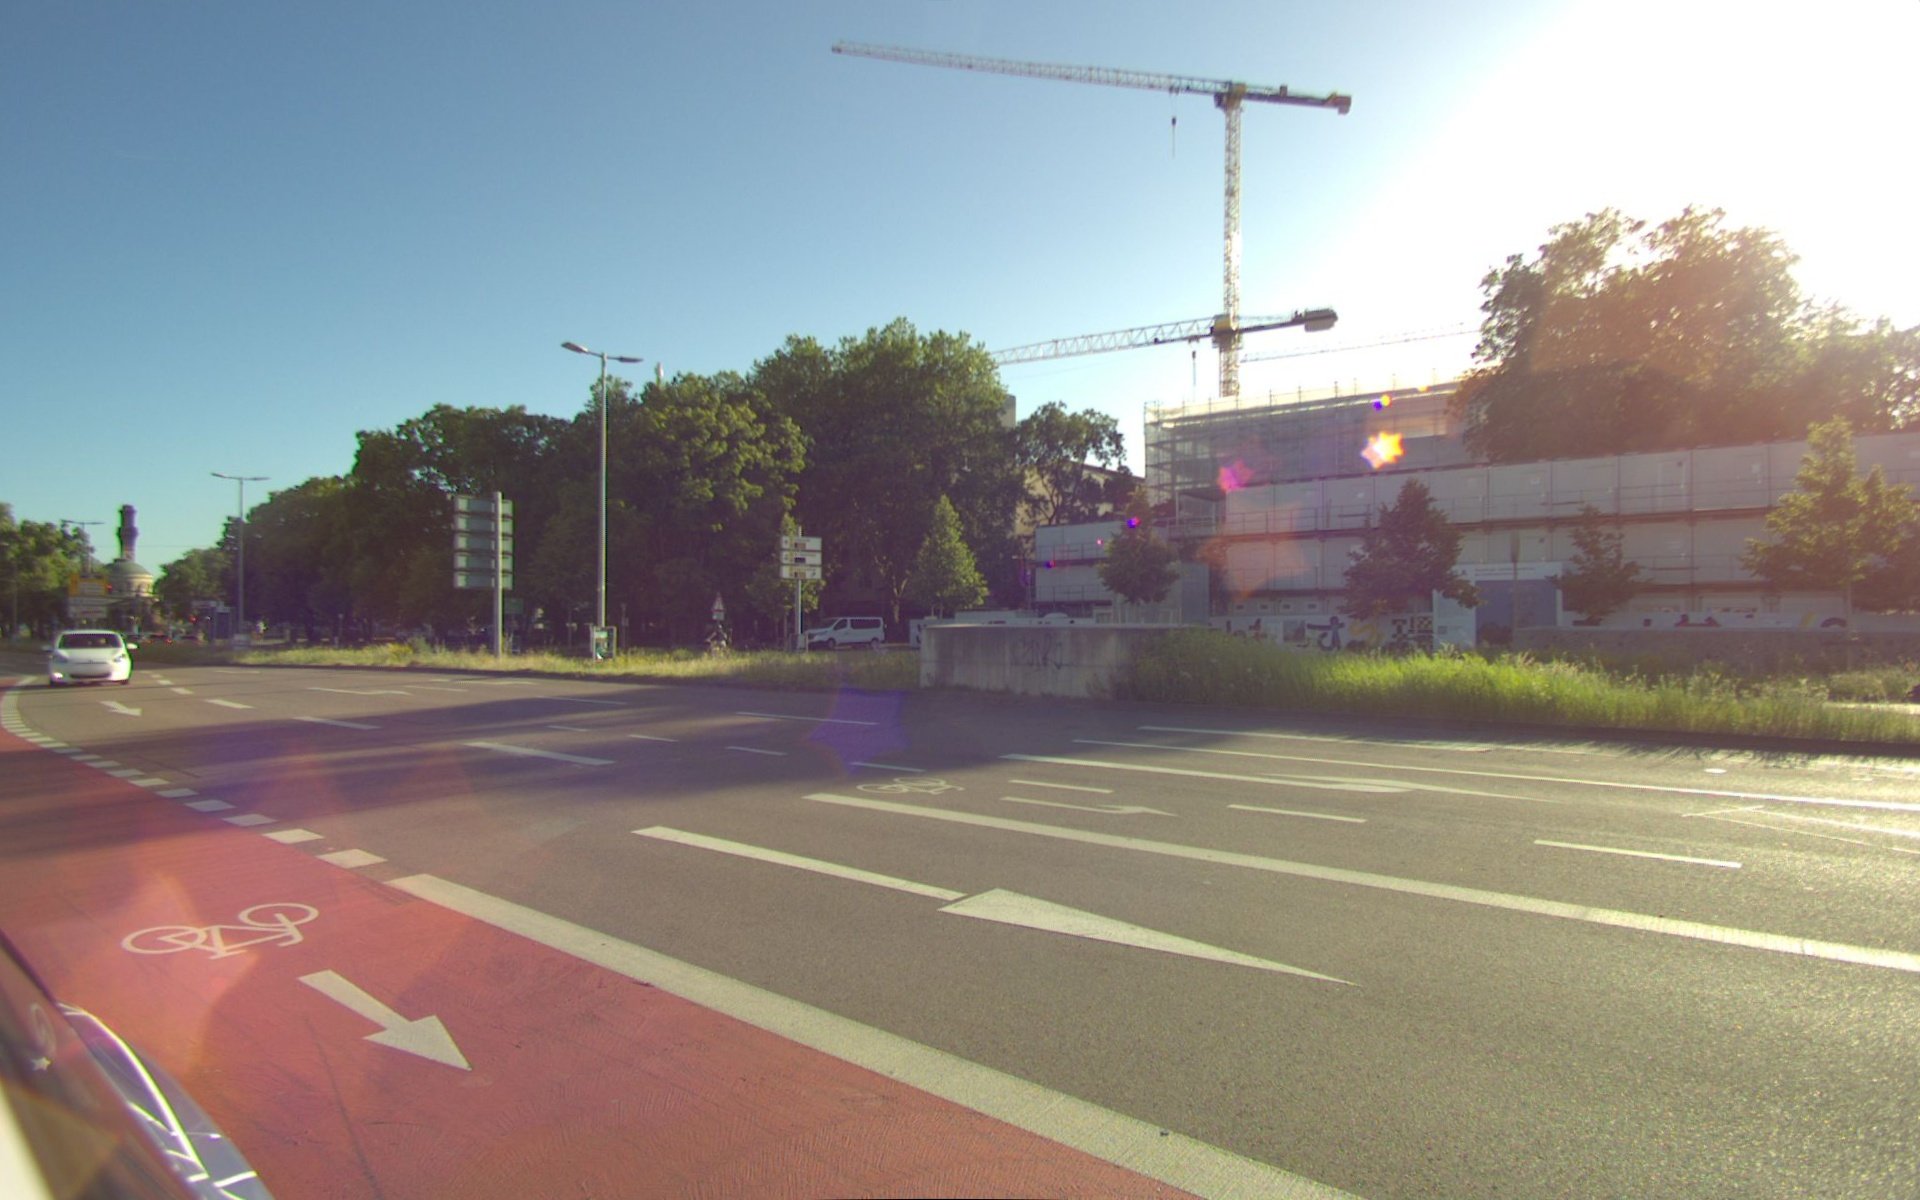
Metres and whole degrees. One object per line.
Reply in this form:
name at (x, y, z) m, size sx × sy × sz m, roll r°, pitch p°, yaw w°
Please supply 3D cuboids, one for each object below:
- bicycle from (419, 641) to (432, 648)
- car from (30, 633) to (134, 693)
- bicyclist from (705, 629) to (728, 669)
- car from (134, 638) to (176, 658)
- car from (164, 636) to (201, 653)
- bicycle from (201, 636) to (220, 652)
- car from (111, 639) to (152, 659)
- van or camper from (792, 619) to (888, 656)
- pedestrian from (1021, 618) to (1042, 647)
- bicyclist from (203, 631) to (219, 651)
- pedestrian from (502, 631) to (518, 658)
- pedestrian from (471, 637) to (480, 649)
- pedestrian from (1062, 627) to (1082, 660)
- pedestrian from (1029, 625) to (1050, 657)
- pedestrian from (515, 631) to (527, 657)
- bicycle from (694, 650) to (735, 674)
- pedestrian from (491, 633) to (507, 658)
bicycle at (-68.054, 5.621, 128.843) m, size 1.600 × 0.896 × 0.762 m, roll -1°, pitch -2°, yaw 32°
car at (-23.629, 1.639, 27.197) m, size 3.763 × 1.475 × 1.657 m, roll -2°, pitch -1°, yaw 41°
bicyclist at (-9.243, 1.865, 38.393) m, size 0.600 × 1.500 × 0.681 m, roll 2°, pitch -3°, yaw -45°
car at (-67.220, 3.990, 84.449) m, size 4.057 × 1.576 × 1.973 m, roll -2°, pitch -3°, yaw 40°
car at (-74.074, 4.193, 96.361) m, size 4.585 × 1.538 × 1.913 m, roll -2°, pitch -2°, yaw 41°
bicycle at (-62.188, 3.644, 83.930) m, size 2.256 × 1.285 × 0.750 m, roll 0°, pitch -2°, yaw 40°
car at (-72.679, 4.306, 88.773) m, size 4.545 × 1.688 × 1.973 m, roll -2°, pitch -3°, yaw 40°
van or camper at (-7.097, 2.244, 60.305) m, size 2.257 × 2.029 × 5.603 m, roll 0°, pitch -2°, yaw 41°
pedestrian at (3.522, 1.595, 49.543) m, size 0.834 × 1.388 × 0.574 m, roll -2°, pitch -3°, yaw 38°
bicyclist at (-62.103, 3.394, 83.872) m, size 1.201 × 1.602 × 0.739 m, roll 0°, pitch -2°, yaw 40°
pedestrian at (-30.475, 3.010, 68.556) m, size 0.761 × 1.754 × 0.763 m, roll -2°, pitch -3°, yaw 43°
pedestrian at (-54.742, 4.868, 114.433) m, size 0.599 × 1.350 × 0.723 m, roll -2°, pitch -3°, yaw 43°
pedestrian at (5.760, 2.234, 52.017) m, size 0.834 × 1.701 × 0.574 m, roll -2°, pitch -3°, yaw 38°
pedestrian at (3.929, 2.021, 50.028) m, size 0.834 × 1.570 × 0.574 m, roll -2°, pitch -3°, yaw 38°
pedestrian at (-29.896, 3.016, 68.908) m, size 0.655 × 1.754 × 0.518 m, roll -2°, pitch -3°, yaw 44°
bicycle at (-9.337, 2.337, 38.473) m, size 0.605 × 0.868 × 1.952 m, roll 2°, pitch -3°, yaw -44°
pedestrian at (-30.979, 3.038, 67.983) m, size 0.726 × 1.653 × 0.734 m, roll -2°, pitch -3°, yaw 43°
